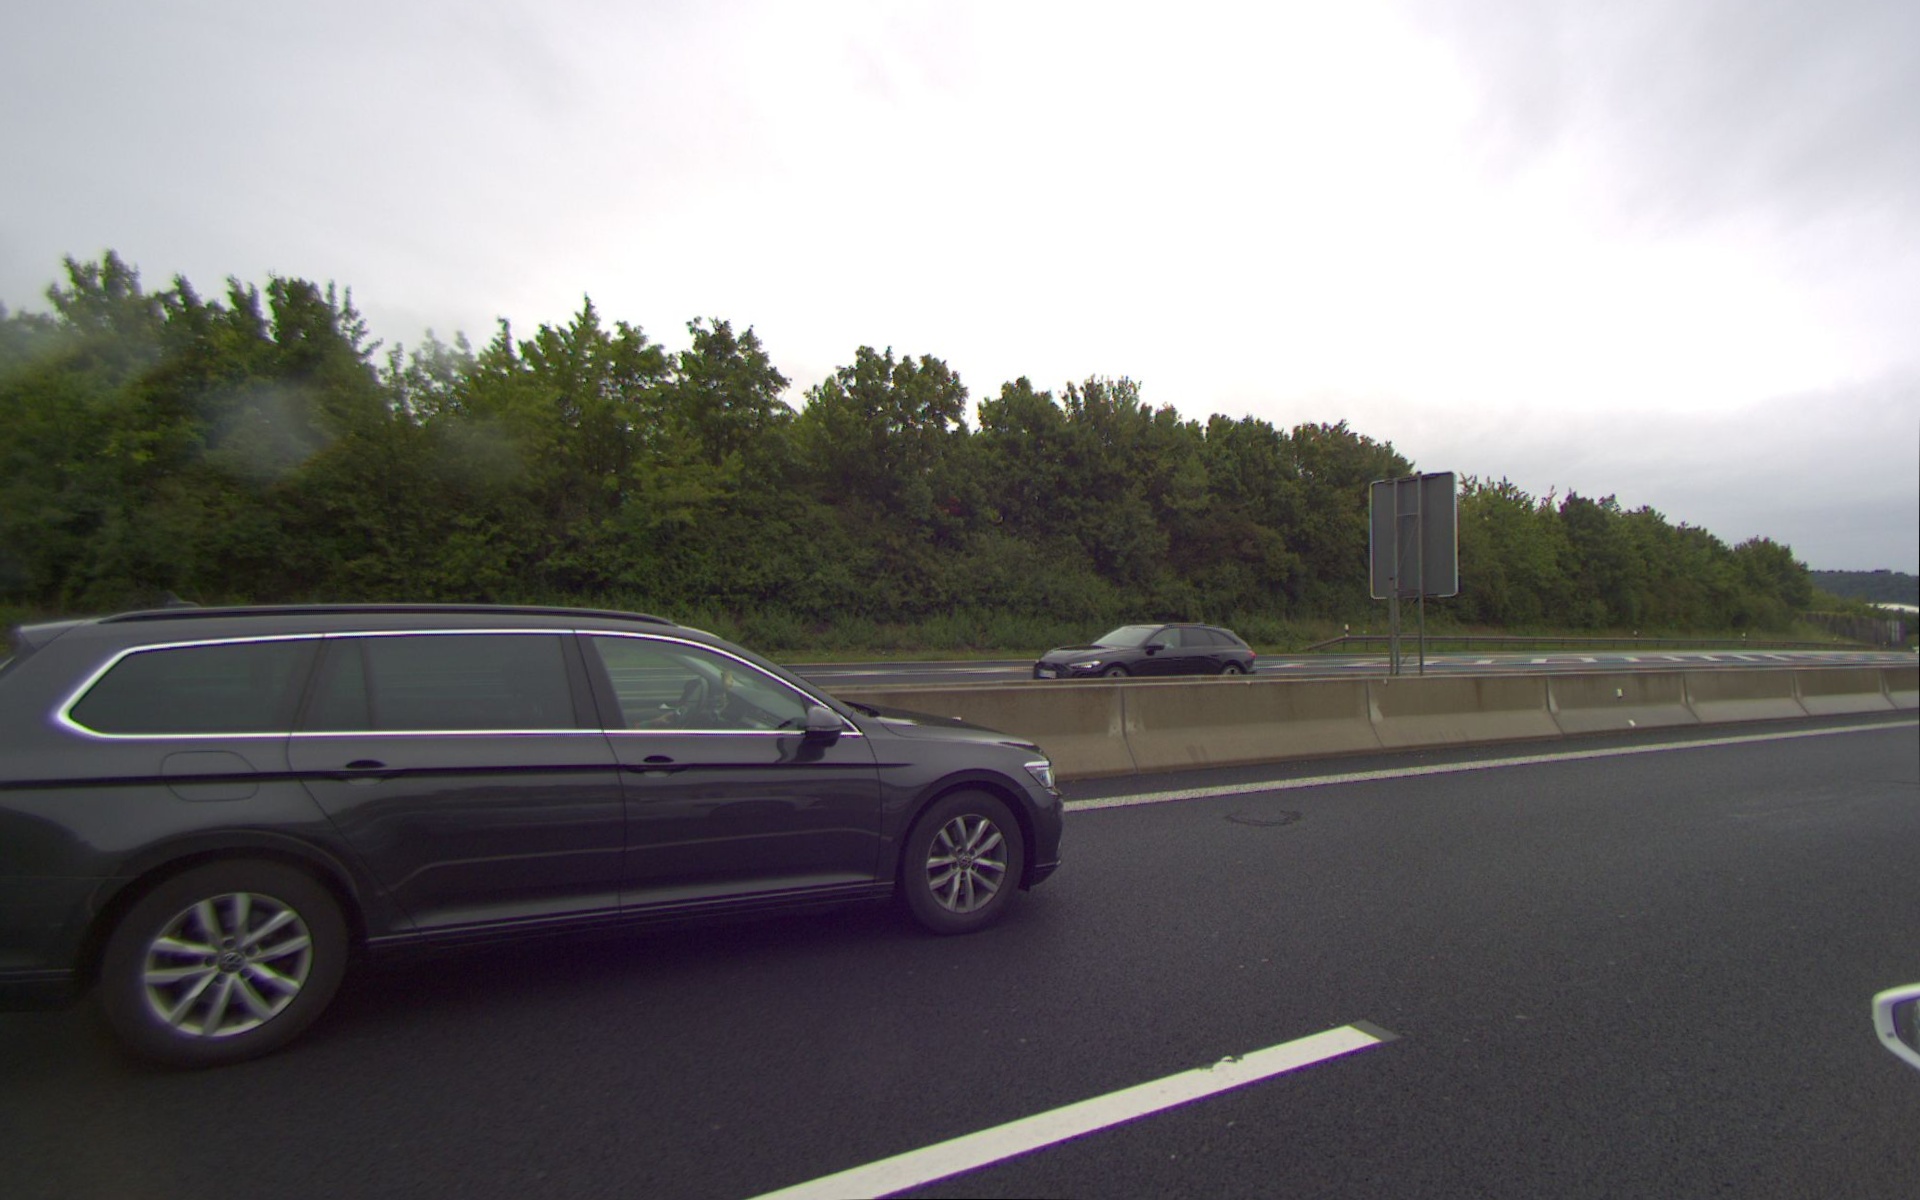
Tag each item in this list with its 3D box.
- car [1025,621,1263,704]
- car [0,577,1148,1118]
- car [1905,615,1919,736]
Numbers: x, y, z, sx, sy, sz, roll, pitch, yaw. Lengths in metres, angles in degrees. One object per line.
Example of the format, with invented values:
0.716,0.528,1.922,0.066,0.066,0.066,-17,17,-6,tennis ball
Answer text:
3.569,1.151,19.343,4.326,1.424,1.892,1,-1,-30,car
-1.608,0.737,4.561,4.795,1.517,1.891,1,-1,-30,car
15.528,1.082,14.259,4.449,1.661,1.966,2,-1,-31,car
